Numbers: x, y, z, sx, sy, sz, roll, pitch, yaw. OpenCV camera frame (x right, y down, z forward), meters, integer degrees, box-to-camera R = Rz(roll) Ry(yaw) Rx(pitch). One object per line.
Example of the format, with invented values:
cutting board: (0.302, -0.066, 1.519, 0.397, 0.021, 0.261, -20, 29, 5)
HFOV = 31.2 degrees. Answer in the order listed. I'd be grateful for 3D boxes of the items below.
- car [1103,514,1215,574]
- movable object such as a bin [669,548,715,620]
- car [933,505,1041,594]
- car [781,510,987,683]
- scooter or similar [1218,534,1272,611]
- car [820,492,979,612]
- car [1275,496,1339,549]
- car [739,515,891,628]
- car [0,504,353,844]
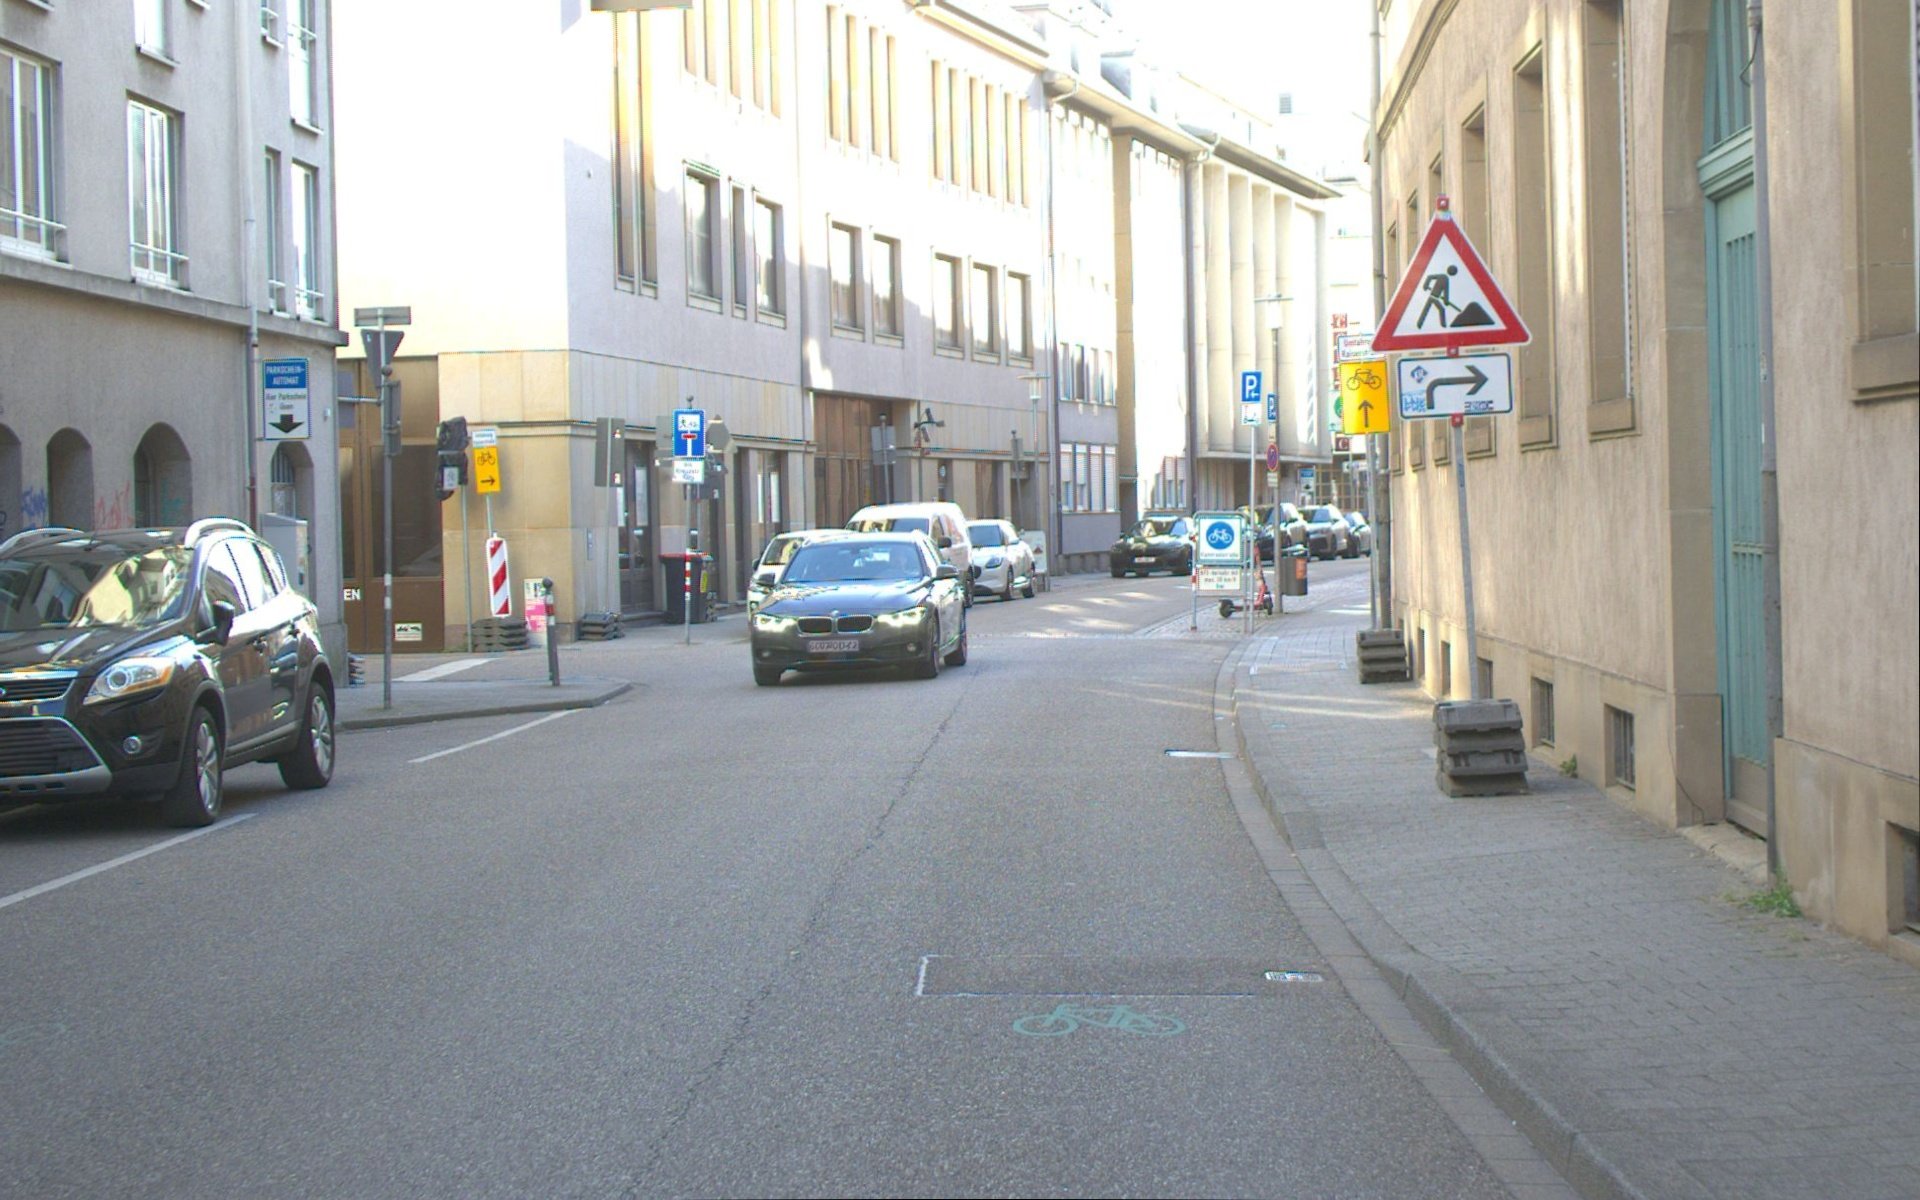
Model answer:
car: (4.795, -1.362, 82.420, 1.882, 1.327, 4.098, -1, 2, 15)
movable object such as a bin: (-4.043, -0.243, 51.898, 0.609, 1.057, 0.713, 1, 1, 2)
car: (0.515, -0.935, 62.419, 1.272, 1.501, 3.400, -2, 1, 11)
car: (-0.820, -0.079, 34.363, 1.714, 1.572, 4.191, -1, 1, -5)
scooter or similar: (4.254, -0.416, 51.320, 0.771, 1.132, 0.269, 1, 1, 7)
car: (-0.941, -0.820, 56.340, 1.671, 1.812, 4.550, -2, 1, 10)
car: (10.276, -2.293, 101.640, 1.339, 1.489, 3.508, -1, 2, 15)
car: (-2.091, -0.449, 50.563, 1.670, 1.501, 3.793, -3, 1, 5)
car: (-4.934, 0.357, 19.988, 1.740, 1.705, 4.190, -4, 1, 3)
